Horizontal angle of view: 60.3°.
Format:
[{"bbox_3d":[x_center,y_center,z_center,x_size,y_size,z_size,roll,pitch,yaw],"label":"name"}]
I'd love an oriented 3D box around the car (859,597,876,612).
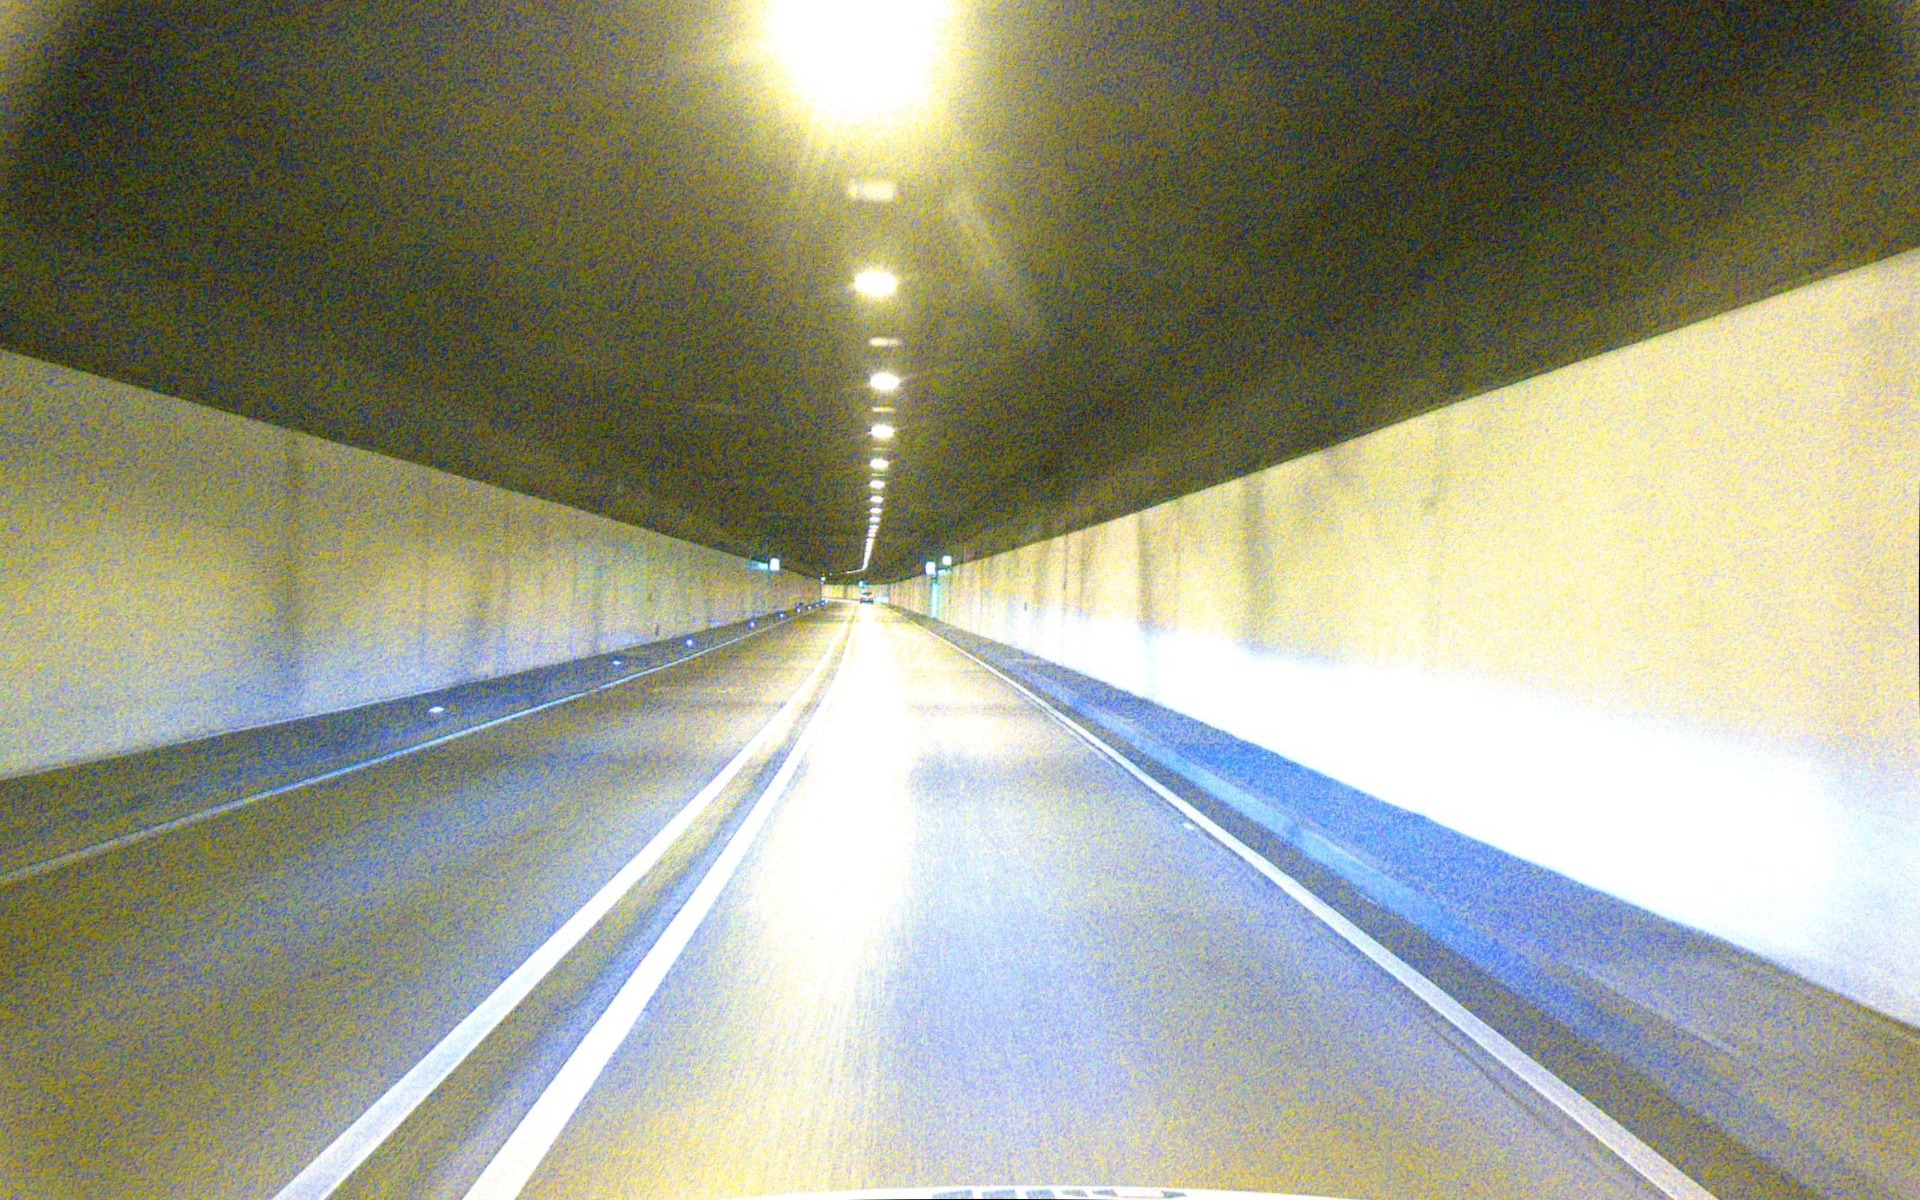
[{"bbox_3d":[-12.598,0.584,225.747,1.930,1.973,4.604,2,-1,-8],"label":"car"}]
